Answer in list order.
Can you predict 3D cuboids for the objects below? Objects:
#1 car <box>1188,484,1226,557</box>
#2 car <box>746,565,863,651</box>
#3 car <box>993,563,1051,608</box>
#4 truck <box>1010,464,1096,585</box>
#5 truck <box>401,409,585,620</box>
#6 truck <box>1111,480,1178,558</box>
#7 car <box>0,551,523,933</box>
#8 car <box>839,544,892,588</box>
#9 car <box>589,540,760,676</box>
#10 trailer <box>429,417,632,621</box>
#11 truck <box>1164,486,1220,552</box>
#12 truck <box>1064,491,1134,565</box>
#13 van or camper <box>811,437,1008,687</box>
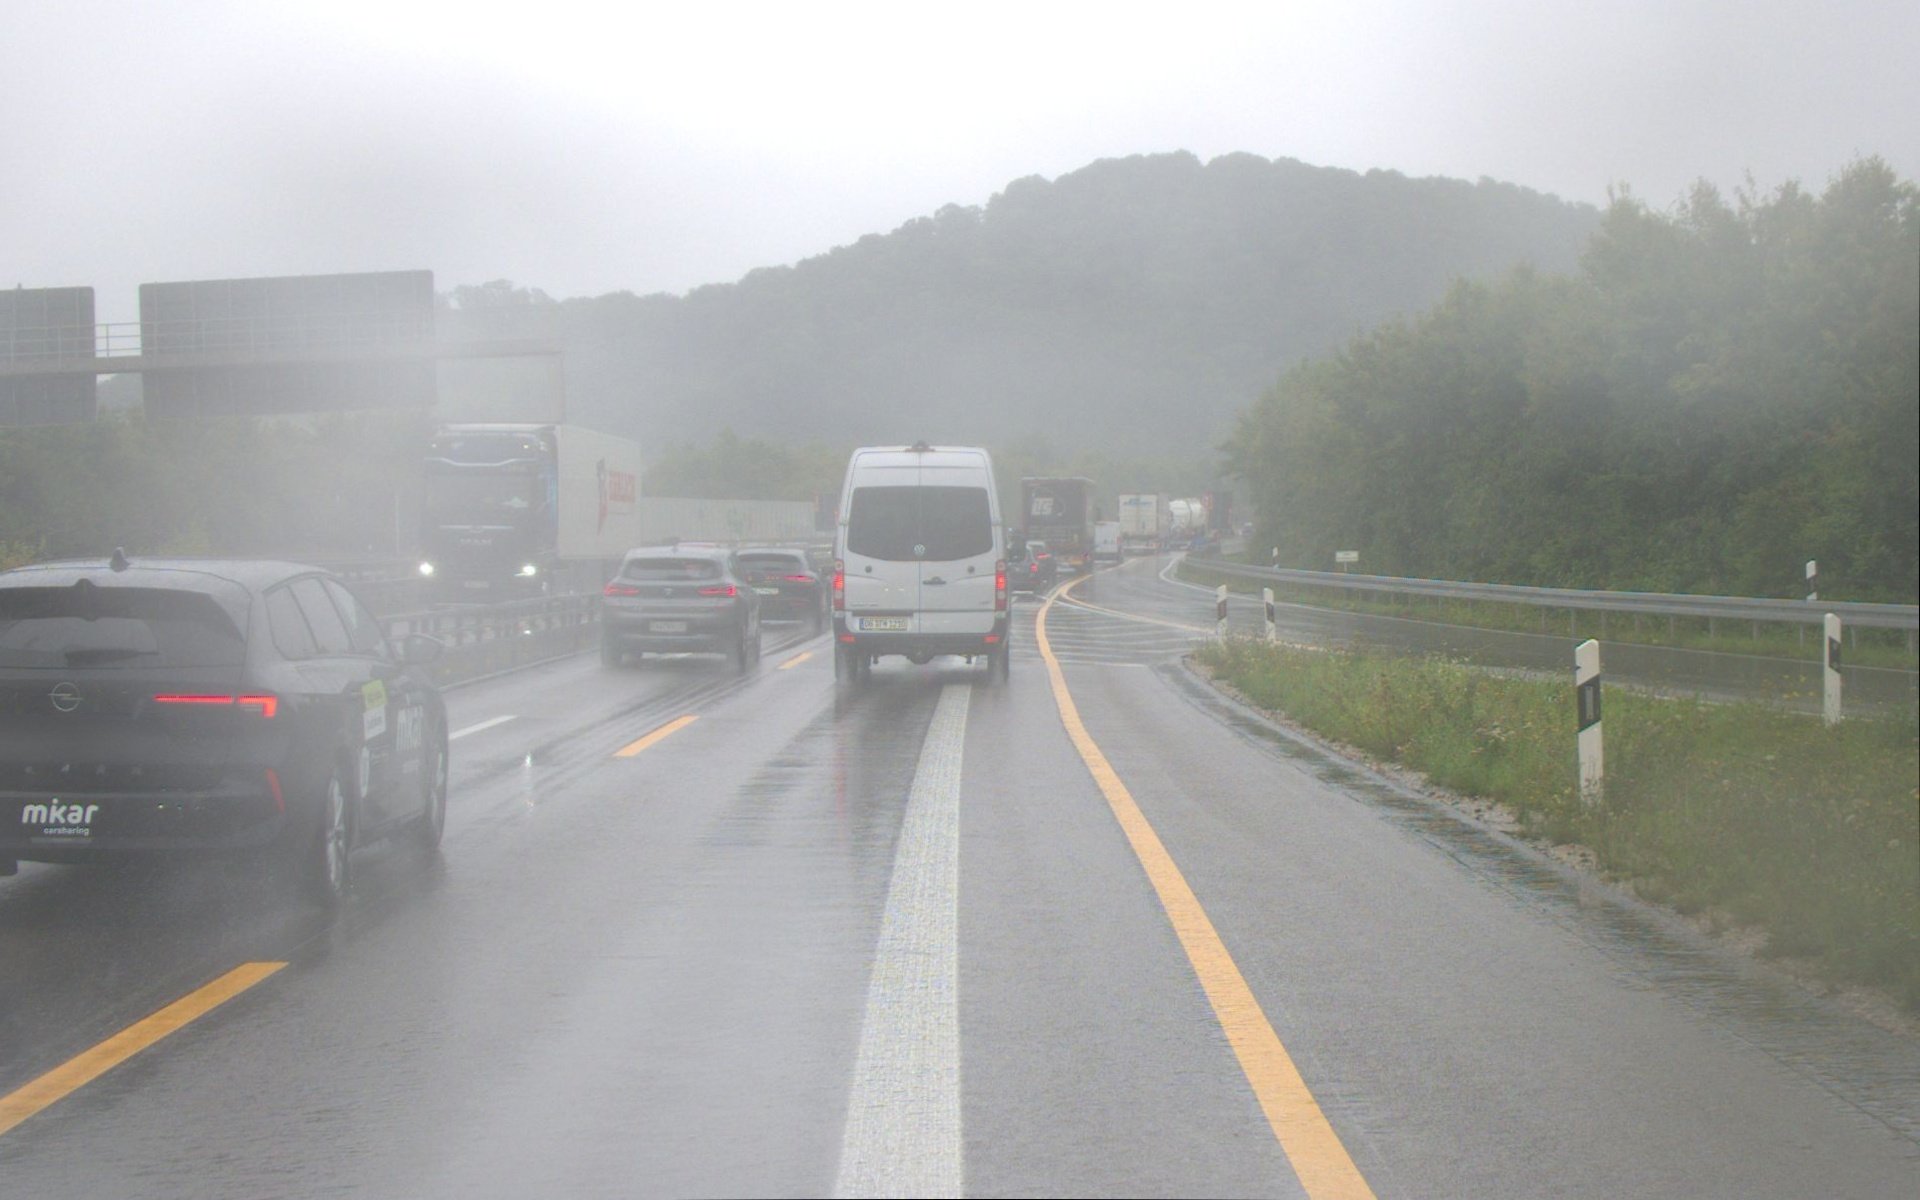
[{"bbox_3d":[14.261,-4.556,198.860,2.058,4.177,6.745,0,1,3],"label":"car"},{"bbox_3d":[-2.809,0.119,62.746,1.852,1.495,4.000,0,1,1],"label":"car"},{"bbox_3d":[1.742,-0.412,96.957,1.384,1.252,3.123,0,1,-3],"label":"car"},{"bbox_3d":[3.826,-3.077,143.622,3.320,4.768,9.907,1,0,1],"label":"truck"},{"bbox_3d":[-9.725,-1.741,72.196,2.889,4.217,6.326,0,0,1],"label":"truck"},{"bbox_3d":[12.006,-5.185,222.896,3.929,4.768,9.905,1,0,5],"label":"truck"},{"bbox_3d":[-3.159,0.507,15.303,1.938,1.422,4.760,1,1,-2],"label":"car"},{"bbox_3d":[-2.353,-0.862,85.924,1.262,1.074,3.255,0,1,-1],"label":"car"},{"bbox_3d":[-3.616,0.073,44.075,1.867,1.653,3.988,0,1,0],"label":"car"},{"bbox_3d":[-9.643,-1.724,78.686,2.893,4.271,12.895,0,0,0],"label":"trailer"},{"bbox_3d":[17.649,-6.112,261.407,3.929,4.768,9.905,1,0,5],"label":"truck"},{"bbox_3d":[7.364,-3.781,183.339,3.320,3.749,9.907,1,0,1],"label":"truck"},{"bbox_3d":[-0.527,-0.443,39.755,2.139,2.712,4.648,0,1,1],"label":"van or camper"}]
